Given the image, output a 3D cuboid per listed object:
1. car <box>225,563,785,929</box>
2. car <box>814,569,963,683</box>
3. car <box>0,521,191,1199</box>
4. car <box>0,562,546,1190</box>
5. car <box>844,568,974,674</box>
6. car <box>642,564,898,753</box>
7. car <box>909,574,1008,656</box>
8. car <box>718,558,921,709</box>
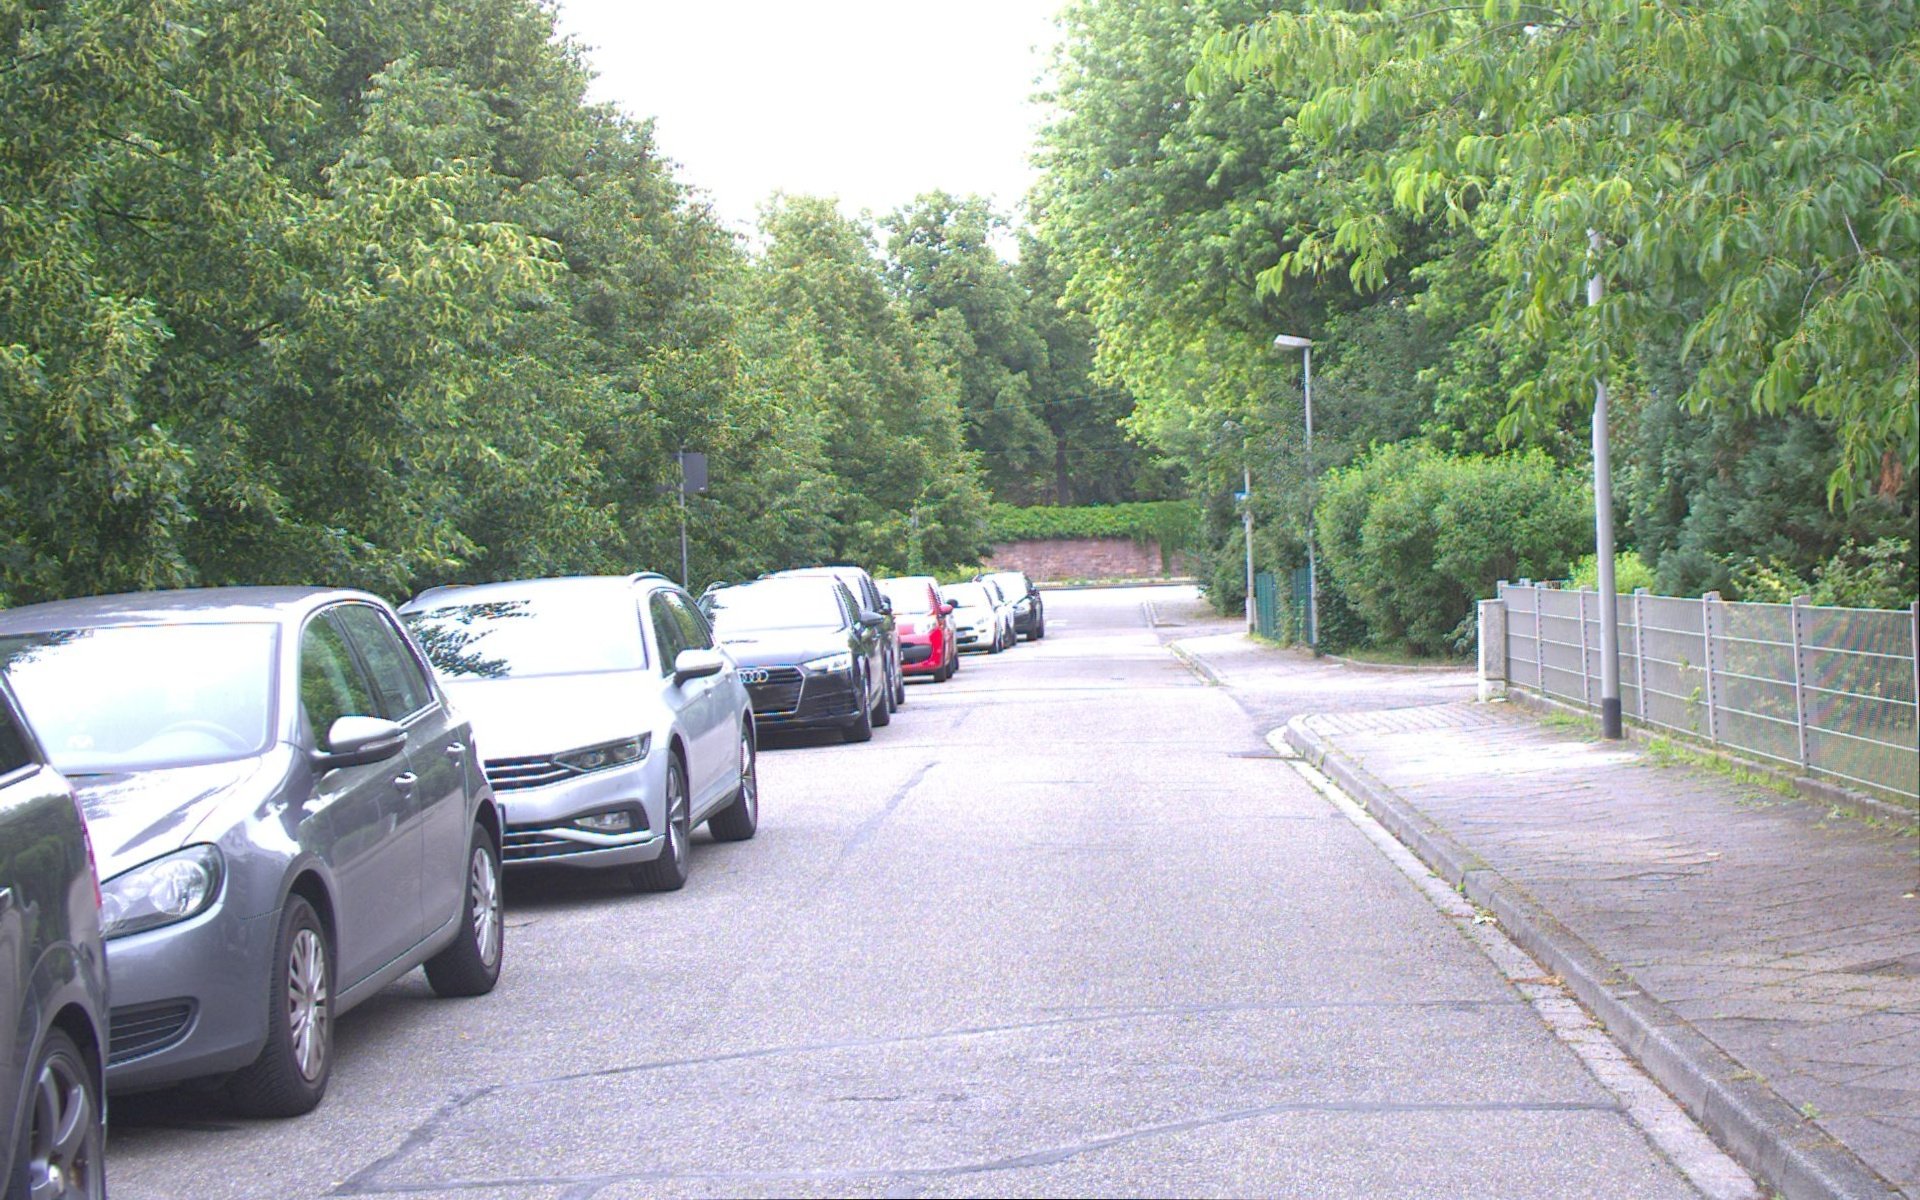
[{"bbox_3d":[-2.058,0.603,16.884,1.776,1.423,4.478,-4,1,4],"label":"car"},{"bbox_3d":[-0.973,0.335,48.836,1.752,1.420,4.000,-4,1,3],"label":"car"},{"bbox_3d":[-2.644,0.726,5.179,1.757,1.588,4.553,-4,1,2],"label":"car"},{"bbox_3d":[-2.607,0.698,10.595,1.757,1.473,4.305,-4,1,4],"label":"car"},{"bbox_3d":[-0.785,0.310,55.490,1.752,1.514,4.000,-4,1,3],"label":"car"},{"bbox_3d":[-1.597,0.459,30.225,1.752,1.420,4.000,-4,1,3],"label":"car"},{"bbox_3d":[-0.006,0.290,71.118,1.752,1.514,4.000,-4,1,3],"label":"car"},{"bbox_3d":[-1.462,0.321,37.160,1.752,1.420,4.000,-4,1,3],"label":"car"}]
